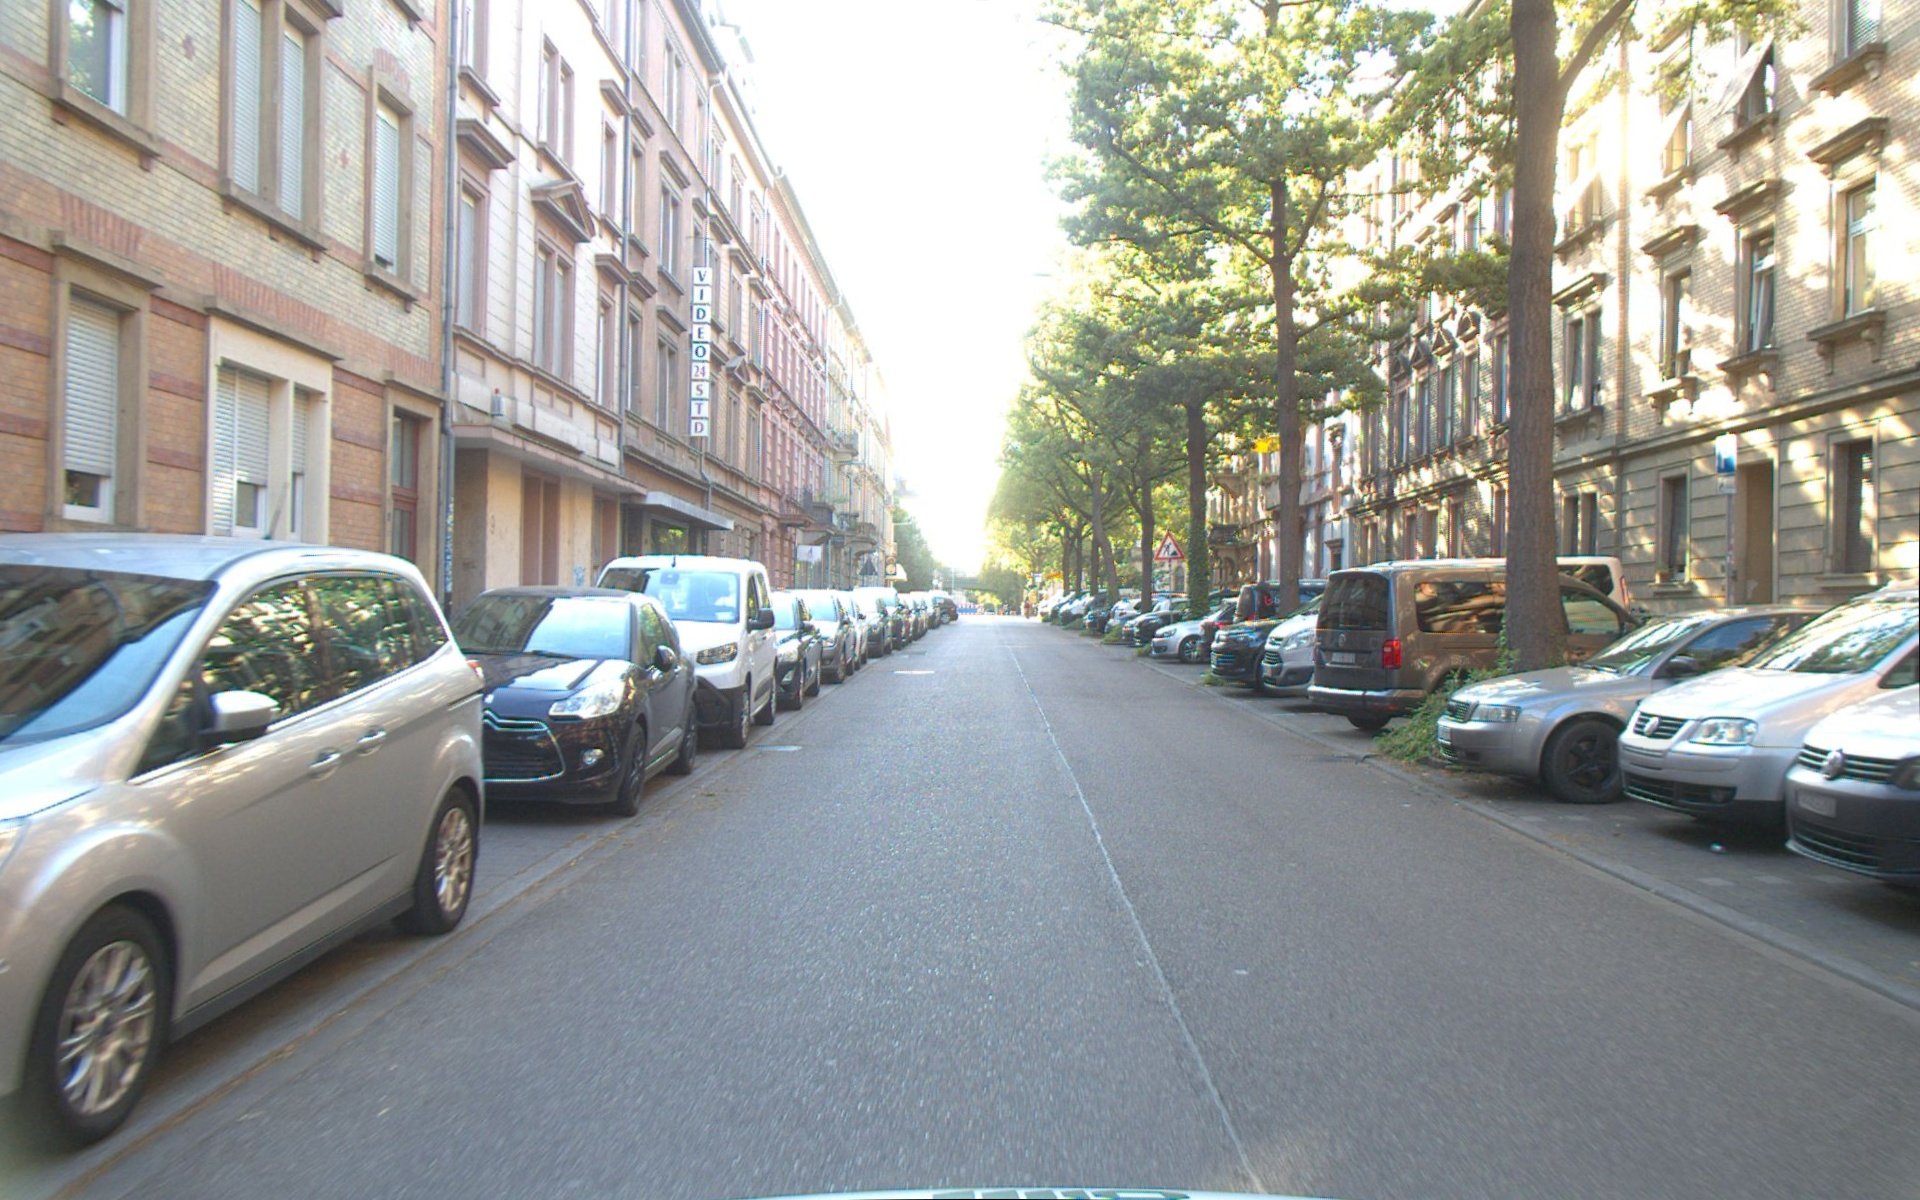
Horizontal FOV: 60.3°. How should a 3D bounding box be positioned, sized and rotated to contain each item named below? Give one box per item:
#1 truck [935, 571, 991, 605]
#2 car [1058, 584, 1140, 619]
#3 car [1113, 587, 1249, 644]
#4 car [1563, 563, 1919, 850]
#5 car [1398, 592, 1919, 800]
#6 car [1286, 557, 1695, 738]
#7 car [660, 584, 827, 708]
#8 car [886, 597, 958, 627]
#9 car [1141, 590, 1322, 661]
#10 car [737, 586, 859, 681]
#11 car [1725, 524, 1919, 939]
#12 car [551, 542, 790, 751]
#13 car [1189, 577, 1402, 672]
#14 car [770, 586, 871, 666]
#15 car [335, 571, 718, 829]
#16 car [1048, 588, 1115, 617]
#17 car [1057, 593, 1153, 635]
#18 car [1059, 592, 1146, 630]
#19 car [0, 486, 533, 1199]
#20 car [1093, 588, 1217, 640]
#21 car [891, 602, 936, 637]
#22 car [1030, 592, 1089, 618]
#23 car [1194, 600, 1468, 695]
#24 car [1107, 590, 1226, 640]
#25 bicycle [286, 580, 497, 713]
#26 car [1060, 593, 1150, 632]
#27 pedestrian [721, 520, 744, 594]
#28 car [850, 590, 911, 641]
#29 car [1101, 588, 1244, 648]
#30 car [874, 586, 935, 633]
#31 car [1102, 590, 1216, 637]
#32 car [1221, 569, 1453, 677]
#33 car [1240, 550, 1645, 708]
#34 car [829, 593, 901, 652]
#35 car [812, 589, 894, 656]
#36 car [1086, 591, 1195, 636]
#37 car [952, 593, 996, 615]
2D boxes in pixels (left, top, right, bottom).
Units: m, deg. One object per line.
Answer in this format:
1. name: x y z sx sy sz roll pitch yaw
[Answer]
1. truck: 0.430 -1.545 216.702 7.165 4.019 2.406 3 0 -36
2. car: 6.678 0.072 79.807 3.771 1.601 1.718 -1 0 0
3. car: 6.665 0.444 50.081 3.777 1.601 1.715 -1 0 -8
4. car: 6.338 0.585 10.771 4.140 1.639 1.832 -1 0 -7
5. car: 5.819 0.696 13.150 4.138 1.428 1.833 -1 0 -4
6. car: 6.005 0.482 18.789 4.157 1.826 1.825 -1 0 -19
7. car: -2.787 0.545 22.071 1.723 1.498 4.059 0 0 -1
8. car: -1.979 0.646 87.154 1.958 1.512 3.989 -1 -2 33
9. car: 6.147 0.566 37.718 3.773 1.505 1.717 -1 0 -3
10. car: -2.689 0.528 28.285 1.723 1.498 4.059 0 0 -1
11. car: 6.229 0.524 8.067 4.135 1.808 1.835 -1 0 -1
12. car: -2.832 0.408 17.131 1.723 1.874 4.529 0 0 -1
13. car: 6.543 0.457 32.458 3.773 1.729 1.717 -1 0 -3
14. car: -2.726 0.477 33.154 1.723 1.498 4.059 0 0 -1
15. car: -2.933 0.603 12.085 1.723 1.492 3.999 3 0 -1
16. car: 7.104 0.139 97.116 3.771 1.601 1.718 -1 0 0
17. car: 5.851 0.571 66.998 3.771 1.601 1.718 -1 0 1
18. car: 6.444 0.488 74.913 3.771 1.601 1.718 -1 0 0
19. car: -2.971 0.524 5.602 1.717 1.636 4.385 2 0 2
20. car: 6.453 0.461 55.011 3.777 1.601 1.715 -1 0 -8
21. car: -2.121 0.920 76.816 1.953 1.512 3.999 0 -2 0
22. car: 6.612 0.313 110.119 3.771 1.601 1.718 -1 0 0
23. car: 5.638 0.700 25.388 3.773 1.316 1.717 -1 0 -3
24. car: 7.150 0.500 57.411 3.777 1.601 1.715 -1 0 -8
25. bicycle: -6.445 0.475 19.121 1.020 1.341 4.000 2 0 0
26. car: 6.313 0.535 72.332 3.771 1.601 1.718 -1 0 0
27. pedestrian: -5.953 -1.118 43.232 0.488 1.894 0.463 2 0 0
28. car: -2.389 0.453 50.663 1.723 1.498 4.059 0 0 -1
29. car: 6.093 0.501 47.677 3.777 1.601 1.715 -1 0 -8
30. car: -1.878 0.345 56.686 1.953 1.512 3.999 0 -2 0
31. car: 7.193 0.480 60.022 3.777 1.601 1.715 -1 0 -8
32. car: 6.829 0.407 30.192 3.773 1.828 1.717 -1 0 -3
33. car: 6.457 0.375 22.522 4.953 1.959 1.835 -1 0 0
34. car: -2.485 0.560 44.171 1.723 1.498 4.059 0 0 -1
35. car: -2.505 0.497 39.406 1.723 1.498 4.059 0 0 -1
36. car: 6.746 0.499 62.060 3.777 1.601 1.715 -1 0 -8
37. car: 1.341 0.391 155.982 3.902 1.891 1.752 2 0 9
